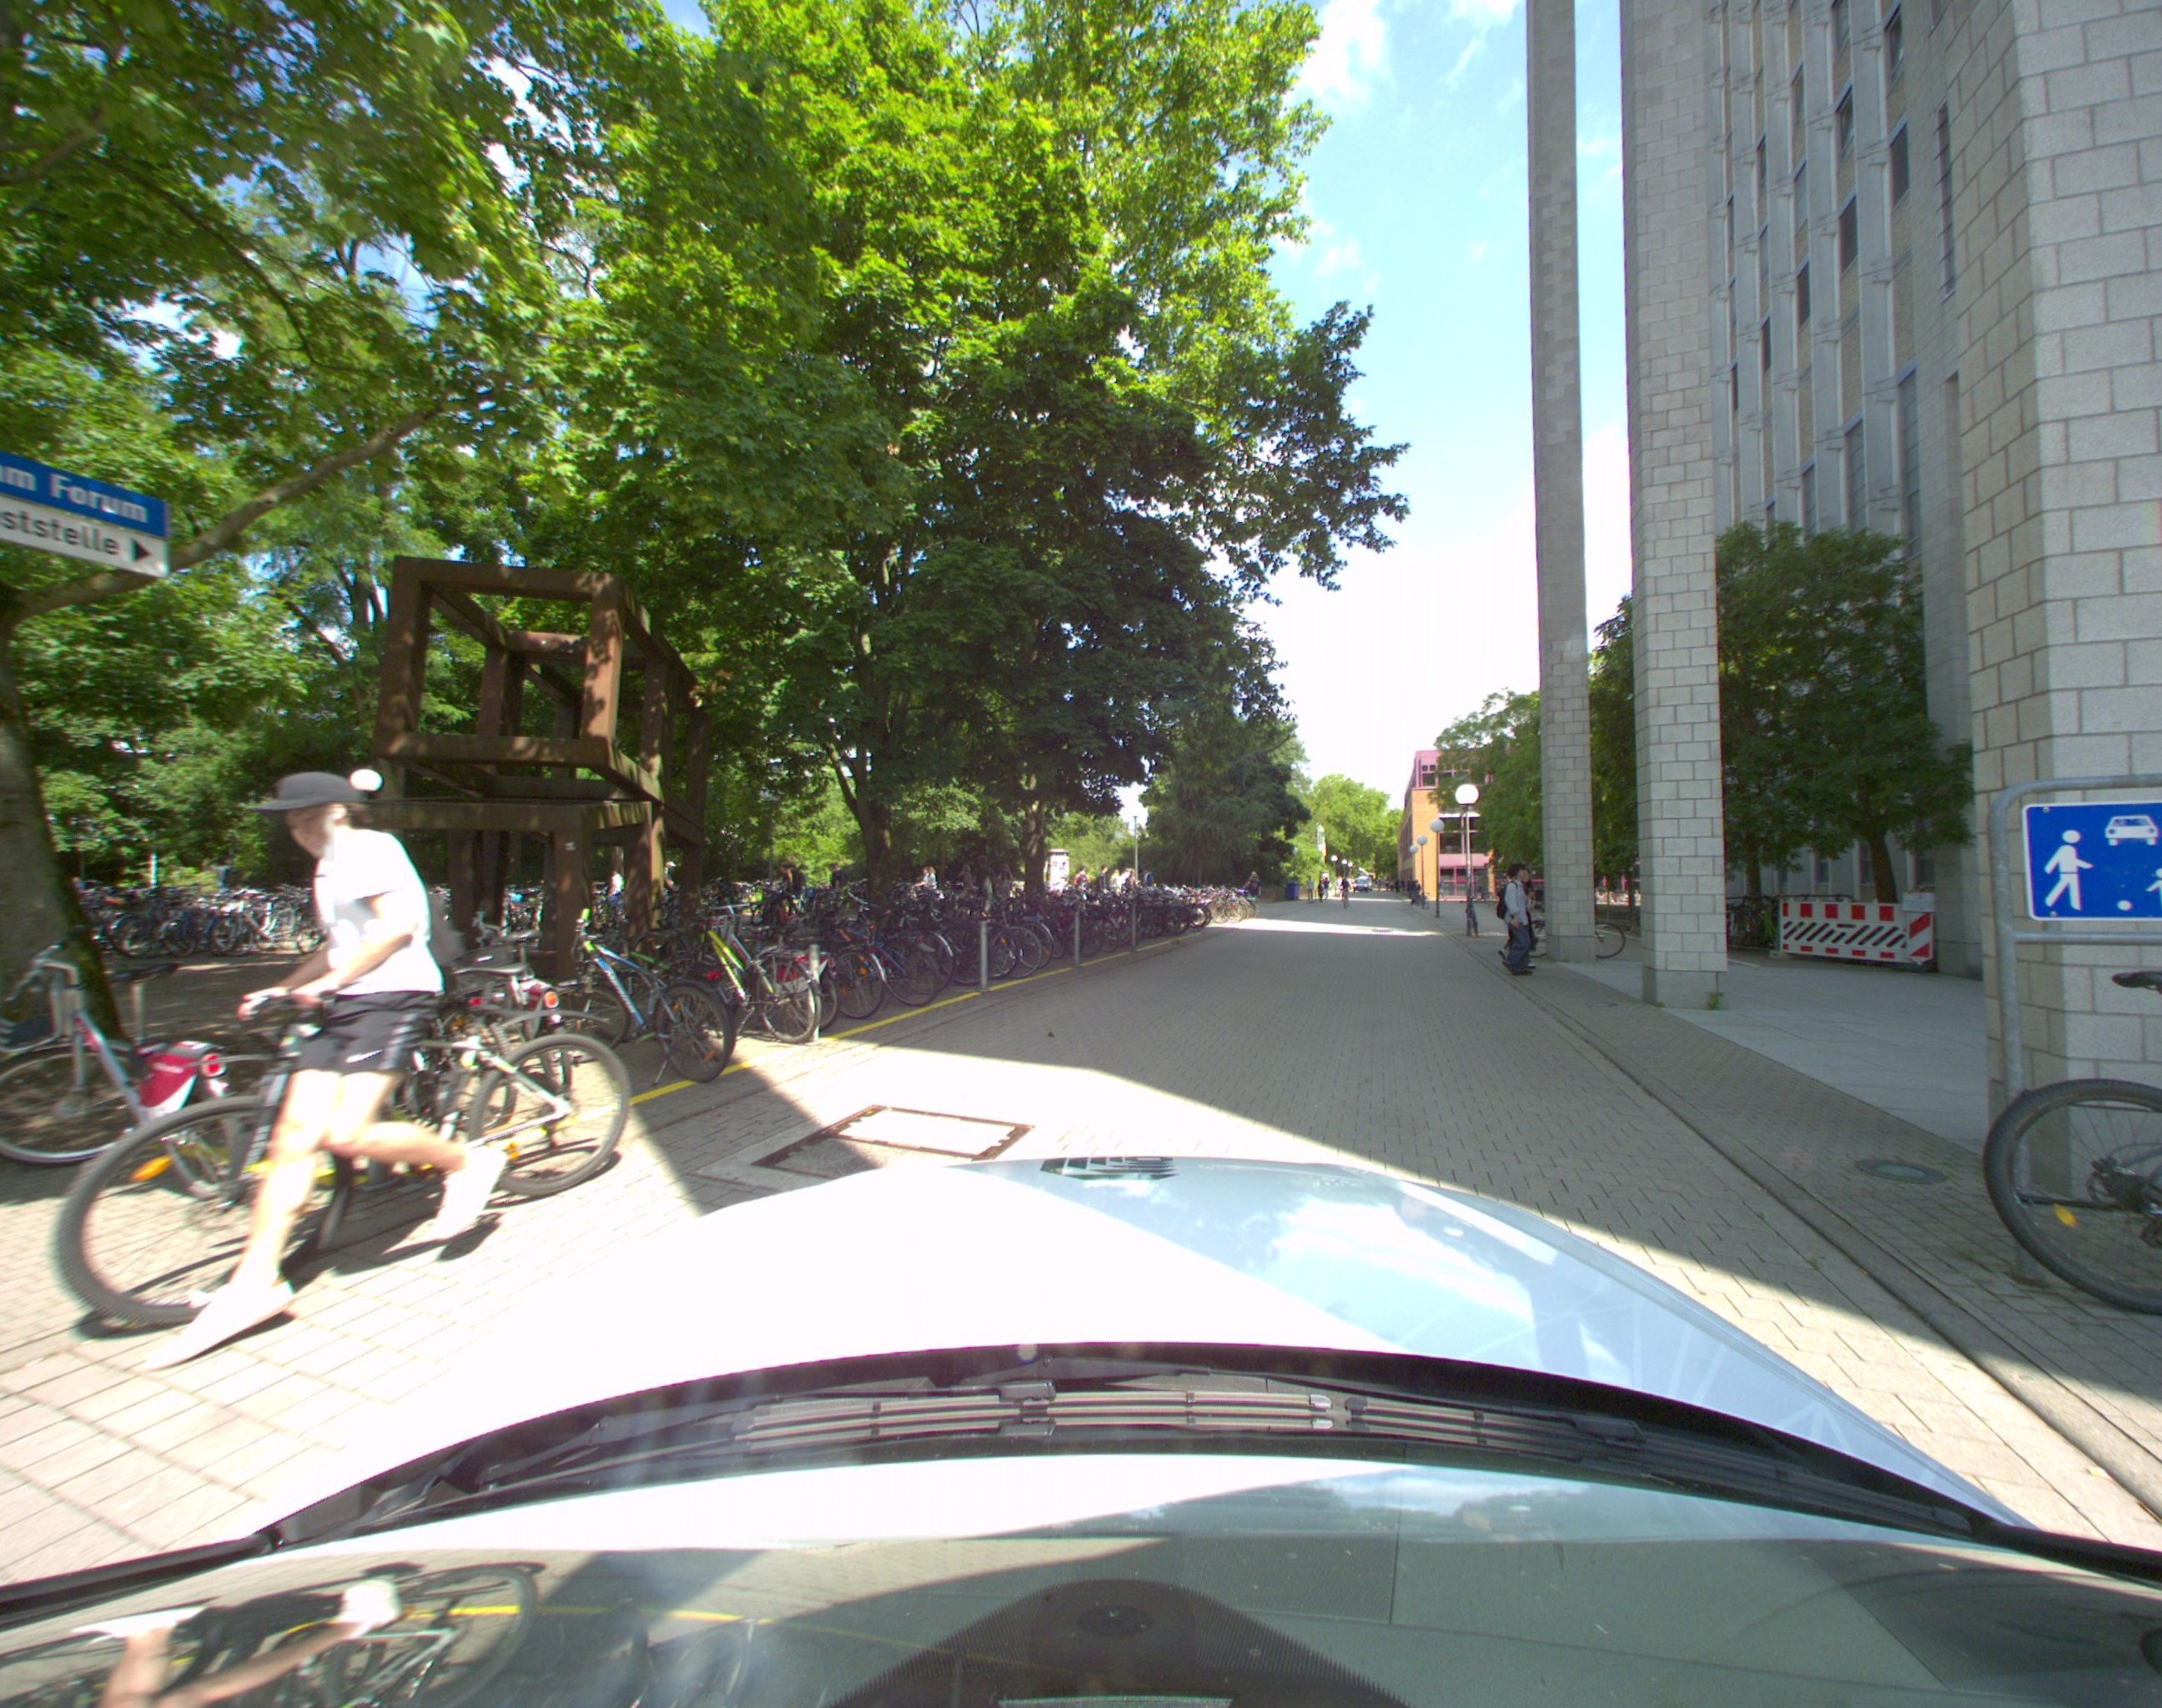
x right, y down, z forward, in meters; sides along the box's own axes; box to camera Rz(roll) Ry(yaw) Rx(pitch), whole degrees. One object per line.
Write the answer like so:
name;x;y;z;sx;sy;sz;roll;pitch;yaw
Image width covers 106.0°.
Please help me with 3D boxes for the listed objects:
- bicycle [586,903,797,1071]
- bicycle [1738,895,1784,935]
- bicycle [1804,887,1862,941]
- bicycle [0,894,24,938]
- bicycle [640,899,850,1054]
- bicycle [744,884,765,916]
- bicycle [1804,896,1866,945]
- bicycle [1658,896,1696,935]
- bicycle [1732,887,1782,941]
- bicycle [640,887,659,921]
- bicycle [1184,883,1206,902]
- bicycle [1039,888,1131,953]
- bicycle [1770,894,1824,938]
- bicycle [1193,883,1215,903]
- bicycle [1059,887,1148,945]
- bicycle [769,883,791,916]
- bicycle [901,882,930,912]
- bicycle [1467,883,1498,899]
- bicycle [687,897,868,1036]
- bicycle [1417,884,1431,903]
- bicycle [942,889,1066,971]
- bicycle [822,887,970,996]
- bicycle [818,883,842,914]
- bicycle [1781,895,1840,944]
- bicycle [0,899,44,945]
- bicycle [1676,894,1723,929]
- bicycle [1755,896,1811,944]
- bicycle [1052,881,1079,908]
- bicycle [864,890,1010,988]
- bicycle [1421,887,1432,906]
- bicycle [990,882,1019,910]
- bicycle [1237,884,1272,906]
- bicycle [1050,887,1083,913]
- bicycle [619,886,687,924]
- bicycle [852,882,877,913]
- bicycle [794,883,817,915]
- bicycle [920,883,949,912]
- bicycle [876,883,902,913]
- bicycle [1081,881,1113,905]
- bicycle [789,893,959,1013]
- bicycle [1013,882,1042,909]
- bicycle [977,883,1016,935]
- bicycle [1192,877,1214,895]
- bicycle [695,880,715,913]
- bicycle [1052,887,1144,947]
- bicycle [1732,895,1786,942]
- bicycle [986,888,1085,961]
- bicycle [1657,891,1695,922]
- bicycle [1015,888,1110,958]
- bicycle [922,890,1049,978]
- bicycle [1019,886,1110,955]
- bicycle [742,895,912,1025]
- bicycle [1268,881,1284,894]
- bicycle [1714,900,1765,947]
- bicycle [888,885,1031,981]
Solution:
bicycle;-2.952;0.943;6.149;1.610;1.108;0.500;0;-2;25
bicycle;16.698;1.486;20.028;0.288;0.905;1.454;-1;-2;17
bicycle;16.369;1.292;17.754;0.288;1.099;1.454;-1;-2;17
bicycle;-26.789;1.515;19.659;0.472;1.084;1.694;1;-2;-9
bicycle;-2.759;0.943;6.682;1.610;1.108;0.633;0;-2;24
bicycle;-11.676;1.623;29.093;0.518;1.110;1.761;1;-2;-28
bicycle;15.244;1.322;16.485;0.288;0.905;1.454;-1;-2;17
bicycle;14.931;1.517;20.419;0.288;0.905;1.454;-1;-2;17
bicycle;15.055;1.310;18.159;0.288;1.128;1.454;-1;-2;17
bicycle;-14.563;1.665;27.501;0.518;1.110;1.761;1;-2;-28
bicycle;6.320;2.134;45.183;0.474;1.047;1.688;1;-2;-20
bicycle;0.055;1.196;15.048;1.718;1.108;0.578;-1;-2;39
bicycle;15.768;1.353;17.966;0.288;0.887;1.454;-1;-2;17
bicycle;6.860;2.177;45.505;0.474;1.047;1.688;3;-1;-20
bicycle;0.457;1.236;16.498;1.722;1.126;0.499;0;-2;15
bicycle;-10.934;1.633;29.559;0.518;1.110;1.761;1;-2;-28
bicycle;-6.447;1.655;31.632;0.519;1.110;1.760;1;-2;-31
bicycle;29.194;2.686;59.247;1.883;1.084;0.592;-1;-2;37
bicycle;-2.724;0.955;7.278;1.610;1.108;0.509;0;-2;25
bicycle;21.123;2.416;50.139;0.702;1.093;1.757;-1;-2;20
bicycle;-1.141;1.079;11.952;1.705;1.108;0.723;-1;-2;31
bicycle;-2.106;0.959;9.248;1.611;1.151;0.499;0;-2;20
bicycle;-9.378;1.629;30.372;0.518;1.110;1.761;1;-2;-28
bicycle;14.860;1.316;16.614;0.288;0.905;1.454;-1;-2;17
bicycle;-26.275;1.652;19.648;0.472;1.084;1.694;1;-2;-9
bicycle;17.338;1.587;22.879;0.288;0.905;1.811;-1;-2;12
bicycle;14.436;1.331;16.783;0.288;0.905;1.454;-1;-2;17
bicycle;-0.679;1.706;34.703;0.475;1.110;1.762;1;-2;-26
bicycle;-1.745;1.008;9.938;1.612;1.108;0.647;0;-2;15
bicycle;18.789;2.309;44.280;0.392;0.936;1.740;-3;-3;20
bicycle;-3.192;1.730;33.906;0.475;1.110;1.760;1;-2;-31
bicycle;8.917;2.094;41.903;1.846;1.110;0.470;1;-2;-23
bicycle;-0.677;2.101;37.492;0.476;1.110;1.757;2;-2;-41
bicycle;-12.723;1.514;24.264;1.700;1.084;0.600;1;-2;-21
bicycle;-8.158;1.631;30.681;0.518;1.110;1.761;1;-2;-28
bicycle;-10.200;1.648;30.109;0.518;1.110;1.761;1;-2;-28
bicycle;-5.792;1.696;32.222;0.519;1.110;1.760;1;-2;-31
bicycle;-7.353;1.669;31.089;0.518;1.110;1.761;1;-2;-28
bicycle;0.770;1.838;38.834;0.476;1.110;1.757;2;-2;-41
bicycle;-2.141;0.972;8.422;1.610;1.108;0.694;0;-2;25
bicycle;-2.247;1.723;34.135;0.475;1.110;1.760;1;-2;-31
bicycle;-2.105;1.327;20.133;0.576;1.200;1.688;1;-2;-19
bicycle;7.331;1.941;48.873;0.468;1.047;1.710;1;-2;42
bicycle;-13.106;1.455;28.401;0.518;1.110;1.761;1;-2;-28
bicycle;0.325;1.219;15.883;1.720;1.108;0.499;0;-2;20
bicycle;14.156;1.336;17.029;0.288;0.905;1.454;-1;-2;17
bicycle;-0.762;1.134;13.421;1.609;1.108;0.566;-1;-2;34
bicycle;18.150;1.589;24.868;0.288;0.905;1.624;-1;-2;12
bicycle;-0.320;1.143;13.834;1.609;1.108;0.500;-1;-2;34
bicycle;-1.282;1.056;10.977;1.612;1.108;0.499;0;-2;15
bicycle;-0.302;1.159;14.480;1.609;1.144;0.500;-1;-2;34
bicycle;-2.428;0.965;7.756;1.610;1.108;0.500;0;-2;25
bicycle;13.582;2.345;56.686;0.417;0.910;1.751;-1;-4;35
bicycle;13.845;1.448;17.148;0.288;0.905;1.454;-1;-2;17
bicycle;-1.571;0.997;10.553;1.766;1.162;0.499;0;-2;15
